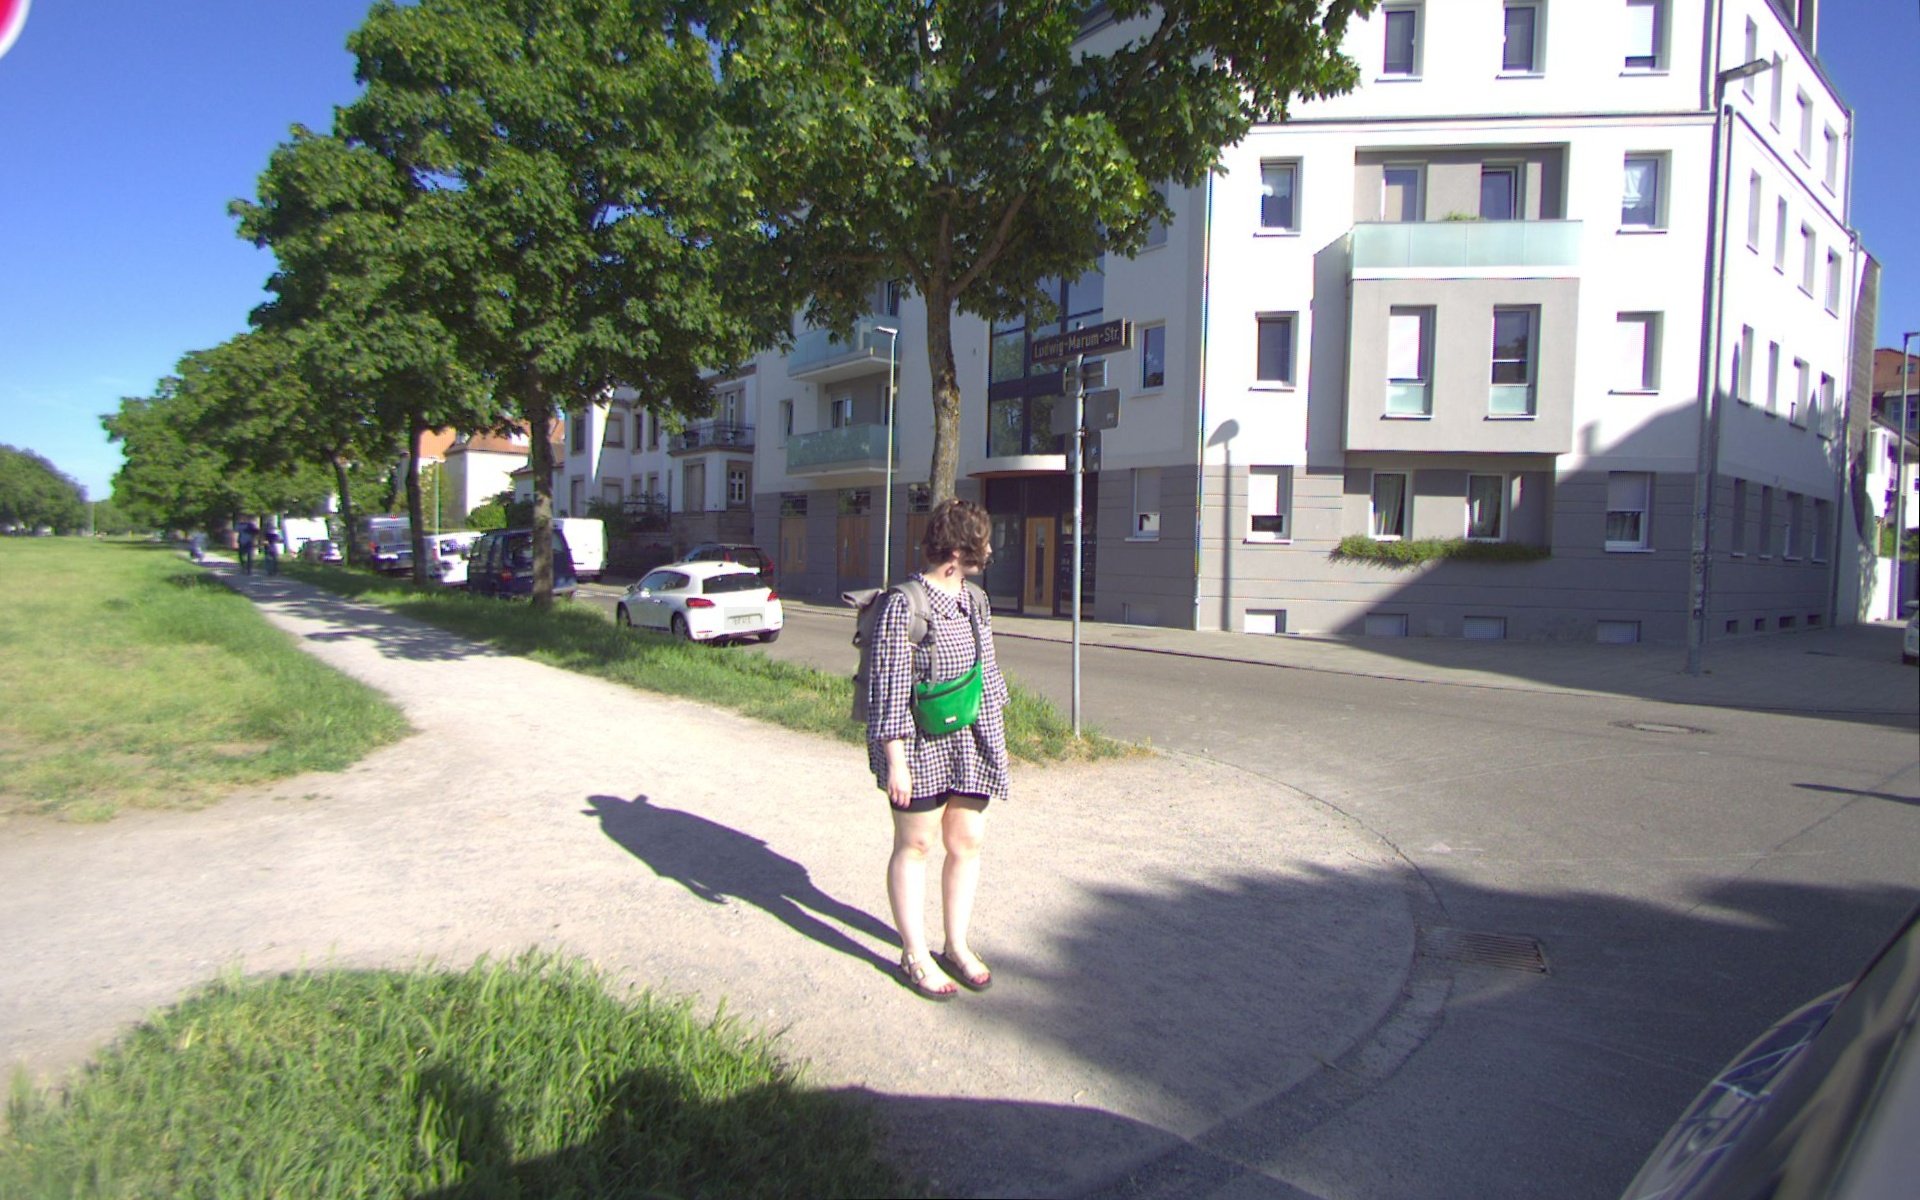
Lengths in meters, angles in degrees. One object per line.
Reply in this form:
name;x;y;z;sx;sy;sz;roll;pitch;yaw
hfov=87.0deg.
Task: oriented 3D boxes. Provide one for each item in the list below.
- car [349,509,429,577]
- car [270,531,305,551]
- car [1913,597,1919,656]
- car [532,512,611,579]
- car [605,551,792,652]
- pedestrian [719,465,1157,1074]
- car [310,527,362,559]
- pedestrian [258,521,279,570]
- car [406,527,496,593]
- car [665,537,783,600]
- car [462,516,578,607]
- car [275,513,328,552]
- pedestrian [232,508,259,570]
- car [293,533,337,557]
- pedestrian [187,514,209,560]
car;-23.682;-2.412;41.890;2.154;2.614;4.287;-5;6;-37
car;-52.784;-4.632;79.386;2.043;1.483;4.727;0;3;-37
car;17.723;0.247;17.191;3.622;1.465;1.666;-1;6;-39
car;-16.029;-2.271;41.689;1.986;2.579;3.994;-2;4;-37
car;-4.754;-0.075;18.061;1.709;1.449;3.993;-6;7;-38
pedestrian;-0.077;0.448;3.545;1.084;1.693;0.902;9;6;34
car;-34.522;-3.162;55.962;2.047;1.618;4.288;0;3;-37
pedestrian;-21.584;-1.702;31.593;0.488;1.523;0.535;0;3;-39
car;-16.514;-1.376;32.728;1.842;1.905;4.425;-5;6;-36
car;-7.122;-1.002;30.319;1.862;1.703;4.288;-2;4;-37
car;-11.450;-1.074;26.212;1.753;2.108;3.994;-5;6;-37
car;-43.599;-4.449;66.900;2.504;2.362;5.919;0;3;-37
pedestrian;-22.203;-1.898;31.439;0.633;1.899;0.629;0;3;-40
car;-39.496;-3.377;61.932;1.899;1.361;4.109;0;3;-37
pedestrian;-31.818;-2.641;42.267;0.711;1.899;0.629;0;3;-40
